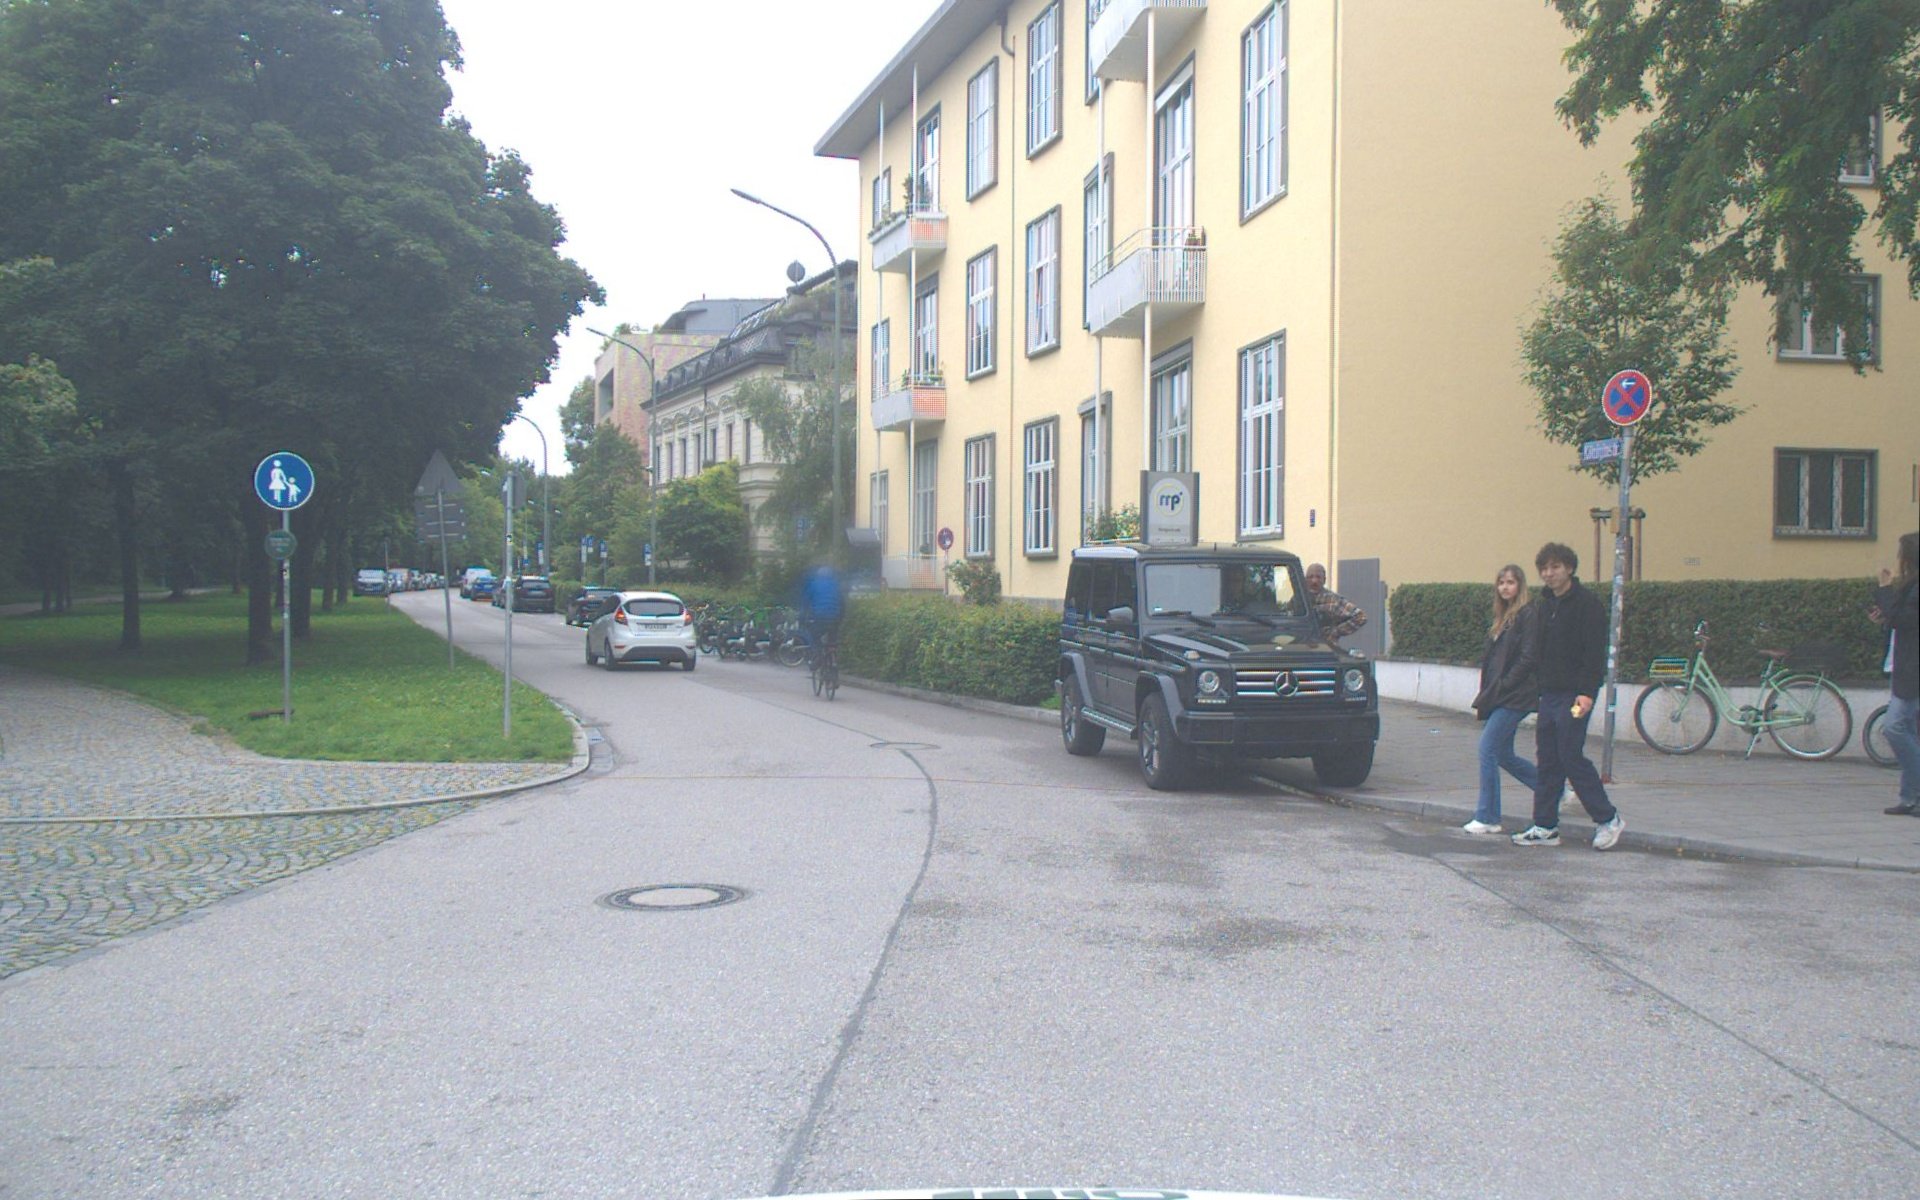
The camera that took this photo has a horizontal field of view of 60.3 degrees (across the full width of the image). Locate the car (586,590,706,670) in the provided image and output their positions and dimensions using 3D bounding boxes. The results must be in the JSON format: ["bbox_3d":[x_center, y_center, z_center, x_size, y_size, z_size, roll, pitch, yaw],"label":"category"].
[{"bbox_3d":[-6.122,0.524,31.995,1.722,1.431,3.705,0,1,-20],"label":"car"}]

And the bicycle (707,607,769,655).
[{"bbox_3d":[-5.065,0.706,37.881,0.402,1.032,1.530,-1,1,40],"label":"bicycle"}]

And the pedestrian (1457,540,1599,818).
[{"bbox_3d":[3.765,0.499,11.014,0.809,1.776,0.741,0,0,12],"label":"pedestrian"}]

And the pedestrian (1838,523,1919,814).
[{"bbox_3d":[6.479,0.442,11.085,0.832,1.890,0.767,-1,0,12],"label":"pedestrian"}]

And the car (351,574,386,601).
[{"bbox_3d":[-36.151,-0.755,101.038,1.965,1.628,4.440,0,1,-20],"label":"car"}]

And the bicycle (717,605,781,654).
[{"bbox_3d":[-4.770,0.662,37.429,0.402,1.032,1.527,0,1,43],"label":"bicycle"}]

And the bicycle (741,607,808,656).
[{"bbox_3d":[-4.089,0.690,36.538,1.524,1.032,0.361,-2,1,-42],"label":"bicycle"}]

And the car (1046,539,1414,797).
[{"bbox_3d":[2.175,0.469,14.743,1.839,1.920,4.608,0,1,-10],"label":"car"}]

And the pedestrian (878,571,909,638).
[{"bbox_3d":[-1.727,0.119,42.886,0.621,1.713,0.694,-1,1,-19],"label":"pedestrian"}]

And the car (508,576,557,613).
[{"bbox_3d":[-20.172,-0.270,77.995,1.768,1.709,3.974,0,1,-22],"label":"car"}]

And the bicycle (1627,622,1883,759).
[{"bbox_3d":[6.840,0.759,14.314,0.525,1.103,1.919,0,-2,-43],"label":"bicycle"}]

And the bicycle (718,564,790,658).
[{"bbox_3d":[-4.584,0.230,36.887,0.449,2.049,1.666,0,1,43],"label":"bicycle"}]

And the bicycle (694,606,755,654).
[{"bbox_3d":[-5.434,0.680,38.211,0.402,1.032,1.530,-1,1,40],"label":"bicycle"}]

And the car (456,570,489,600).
[{"bbox_3d":[-33.003,-1.000,111.851,2.034,2.000,4.953,0,1,-18],"label":"car"}]

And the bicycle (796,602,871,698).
[{"bbox_3d":[-1.843,0.680,23.773,0.904,1.274,2.317,0,1,-8],"label":"bicycle"}]

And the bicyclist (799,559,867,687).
[{"bbox_3d":[-1.835,0.313,23.750,0.897,1.795,1.213,0,1,-9],"label":"bicyclist"}]

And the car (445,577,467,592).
[{"bbox_3d":[-57.379,-1.758,188.246,1.958,1.628,4.454,0,1,-12],"label":"car"}]

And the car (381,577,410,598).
[{"bbox_3d":[-44.443,-1.004,130.253,1.961,1.628,4.447,0,1,-16],"label":"car"}]

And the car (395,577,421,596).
[{"bbox_3d":[-48.460,-1.196,145.196,1.961,1.628,4.448,0,1,-16],"label":"car"}]

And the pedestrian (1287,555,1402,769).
[{"bbox_3d":[3.323,0.518,14.377,0.830,1.788,0.954,-1,1,5],"label":"pedestrian"}]

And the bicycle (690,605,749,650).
[{"bbox_3d":[-5.801,0.662,40.009,0.402,1.032,1.530,-1,1,40],"label":"bicycle"}]

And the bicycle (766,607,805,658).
[{"bbox_3d":[-3.729,0.679,35.444,0.358,1.032,1.539,-1,1,12],"label":"bicycle"}]

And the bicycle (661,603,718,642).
[{"bbox_3d":[-7.520,0.607,46.014,1.521,1.032,0.404,-2,1,-37],"label":"bicycle"}]

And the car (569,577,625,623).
[{"bbox_3d":[-13.131,-0.030,59.712,1.622,1.585,3.540,0,1,-19],"label":"car"}]

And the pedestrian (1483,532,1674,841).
[{"bbox_3d":[3.813,0.516,10.250,0.968,1.841,0.660,0,0,6],"label":"pedestrian"}]

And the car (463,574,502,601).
[{"bbox_3d":[-29.748,-0.800,103.019,1.965,1.628,4.227,0,1,-21],"label":"car"}]

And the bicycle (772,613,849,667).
[{"bbox_3d":[-3.040,0.812,33.639,1.512,1.032,0.365,-1,1,-23],"label":"bicycle"}]

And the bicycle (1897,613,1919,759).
[{"bbox_3d":[8.603,0.683,12.955,2.123,1.135,0.641,0,1,20],"label":"bicycle"}]
